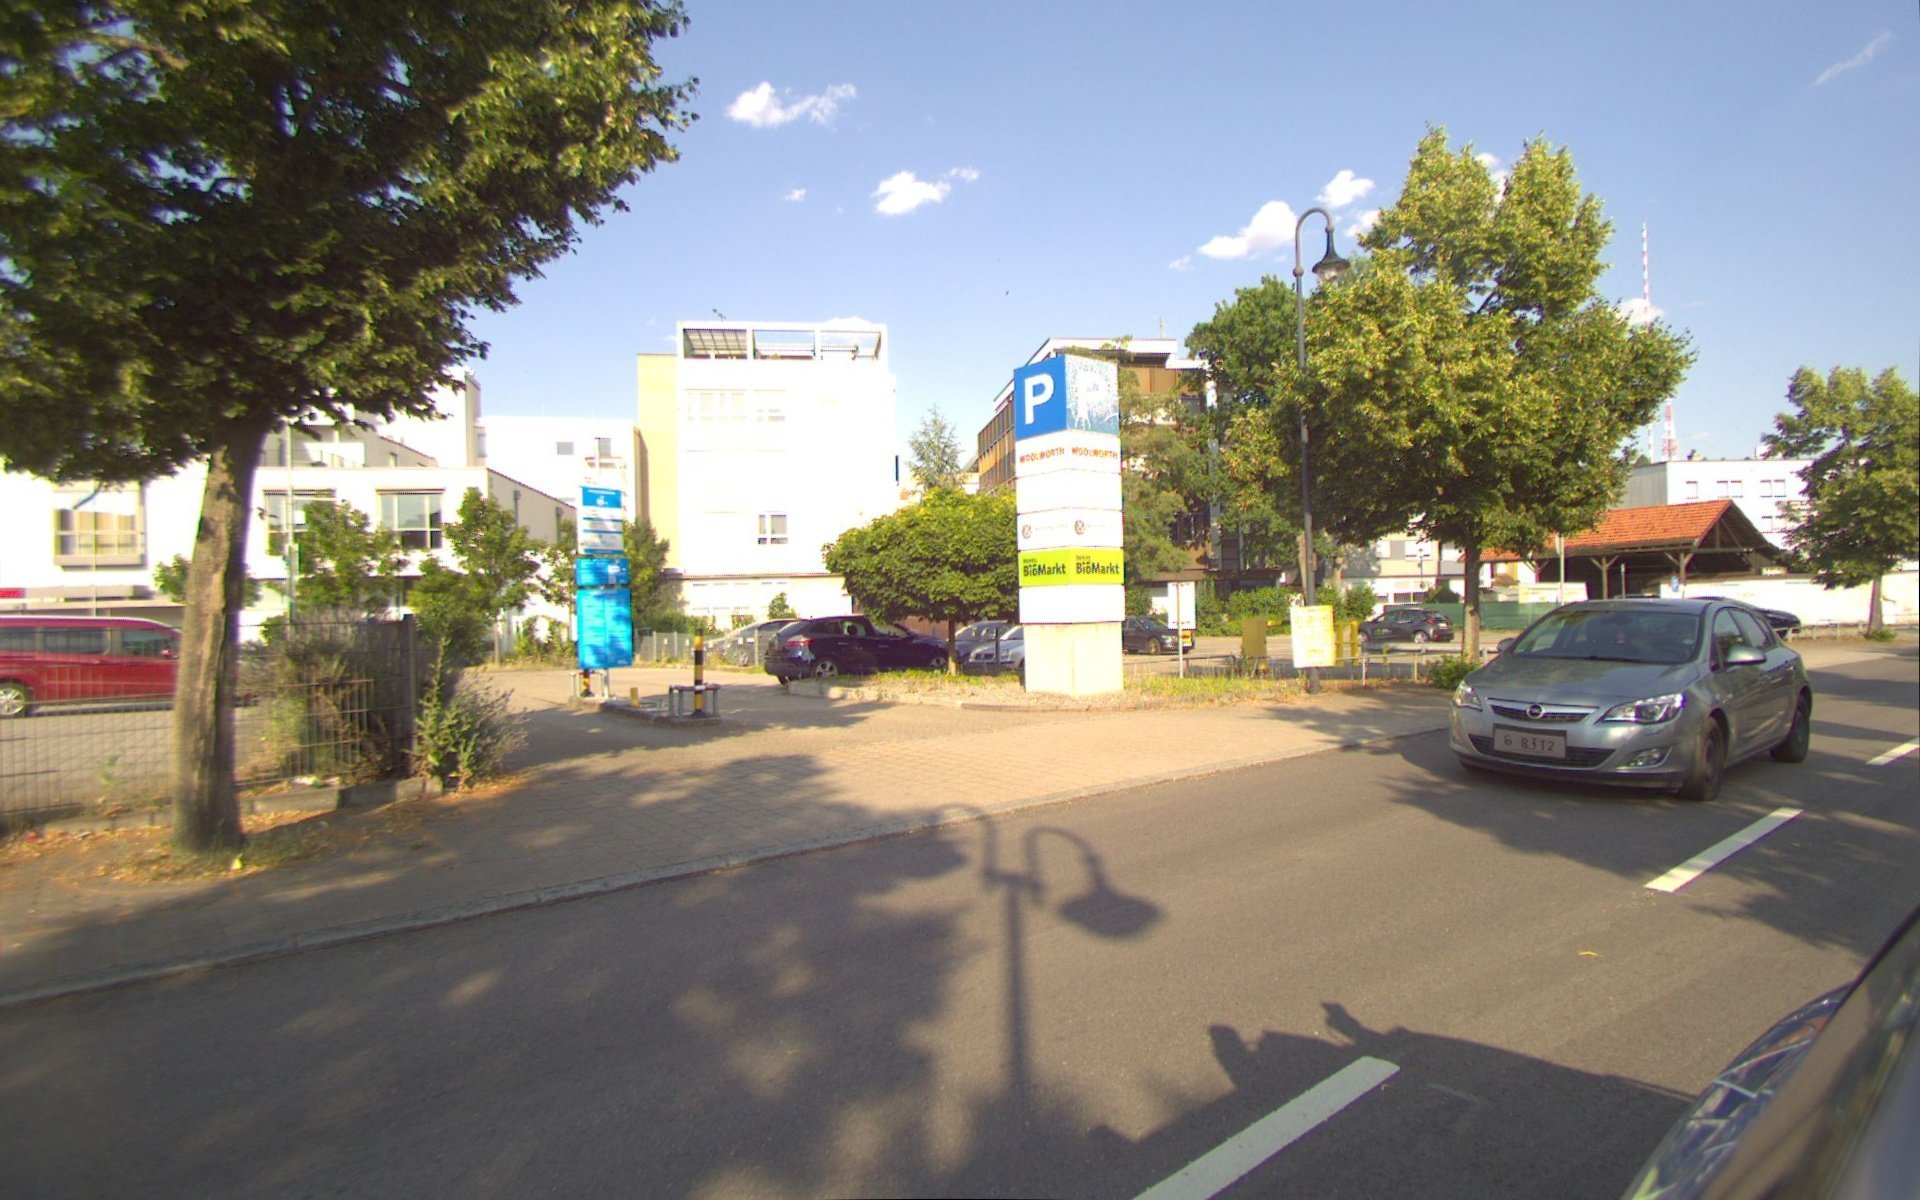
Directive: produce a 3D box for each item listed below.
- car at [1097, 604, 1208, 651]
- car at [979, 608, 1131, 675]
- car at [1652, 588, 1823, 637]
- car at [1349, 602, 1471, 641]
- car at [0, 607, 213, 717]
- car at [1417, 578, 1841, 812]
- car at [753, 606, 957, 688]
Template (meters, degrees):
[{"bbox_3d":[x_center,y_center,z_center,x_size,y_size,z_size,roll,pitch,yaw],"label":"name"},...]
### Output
[{"bbox_3d":[7.291,1.026,38.719,1.900,1.676,4.087,0,-1,-31],"label":"car"},{"bbox_3d":[2.206,0.915,23.399,3.205,1.417,1.616,0,-1,-35],"label":"car"},{"bbox_3d":[24.429,0.392,31.916,1.901,1.438,3.838,0,-1,-34],"label":"car"},{"bbox_3d":[17.738,0.856,40.069,1.901,1.438,4.000,0,-1,-34],"label":"car"},{"bbox_3d":[-16.747,1.100,18.792,4.564,1.878,1.997,0,-1,-39],"label":"car"},{"bbox_3d":[5.757,0.601,8.517,4.227,1.509,1.725,0,0,-38],"label":"car"},{"bbox_3d":[-2.108,0.895,20.640,3.791,1.481,1.658,-1,-1,-33],"label":"car"}]
